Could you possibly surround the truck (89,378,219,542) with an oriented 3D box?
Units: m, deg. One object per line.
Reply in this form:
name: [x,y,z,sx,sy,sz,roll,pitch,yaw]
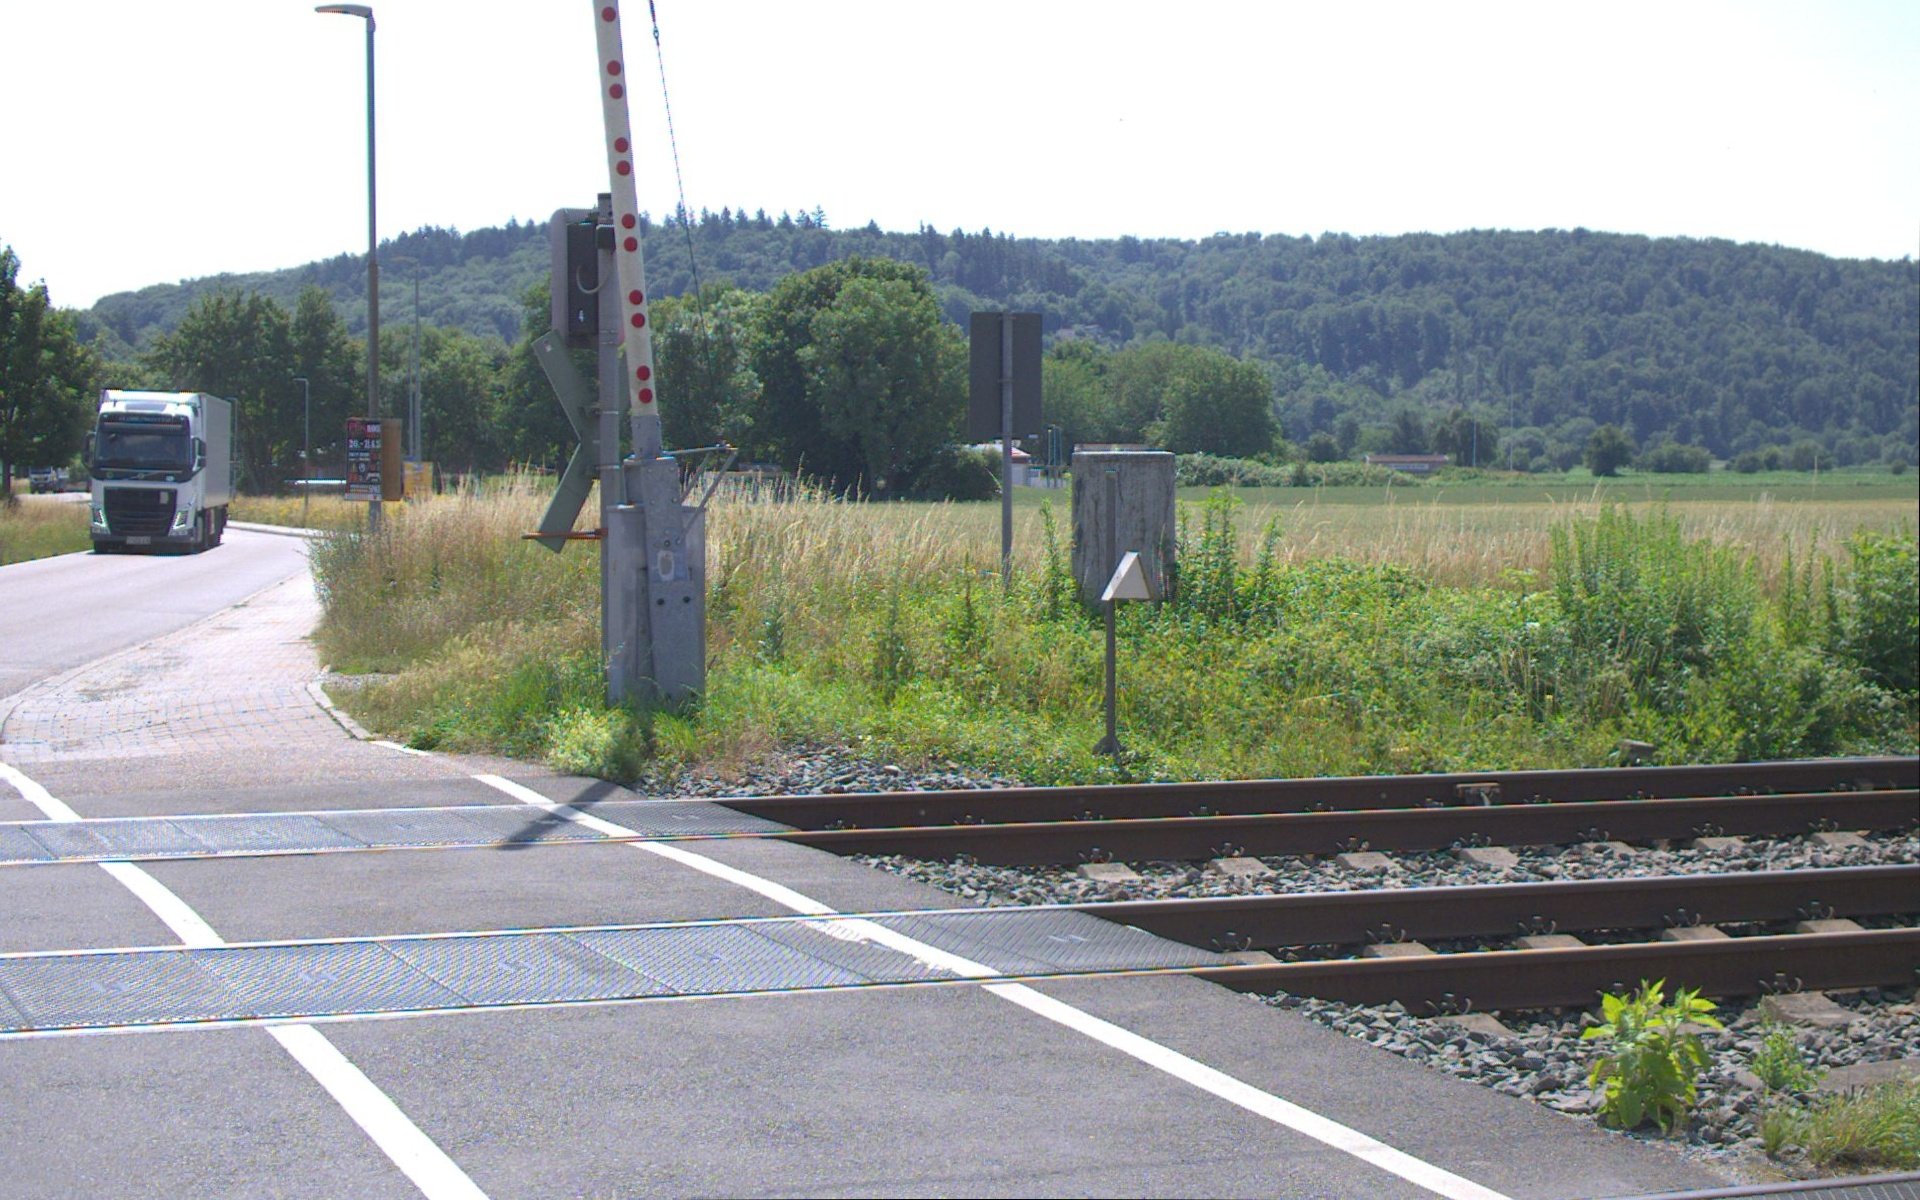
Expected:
truck: [-20.020,-3.484,85.621,2.570,3.934,6.041,0,2,-8]
